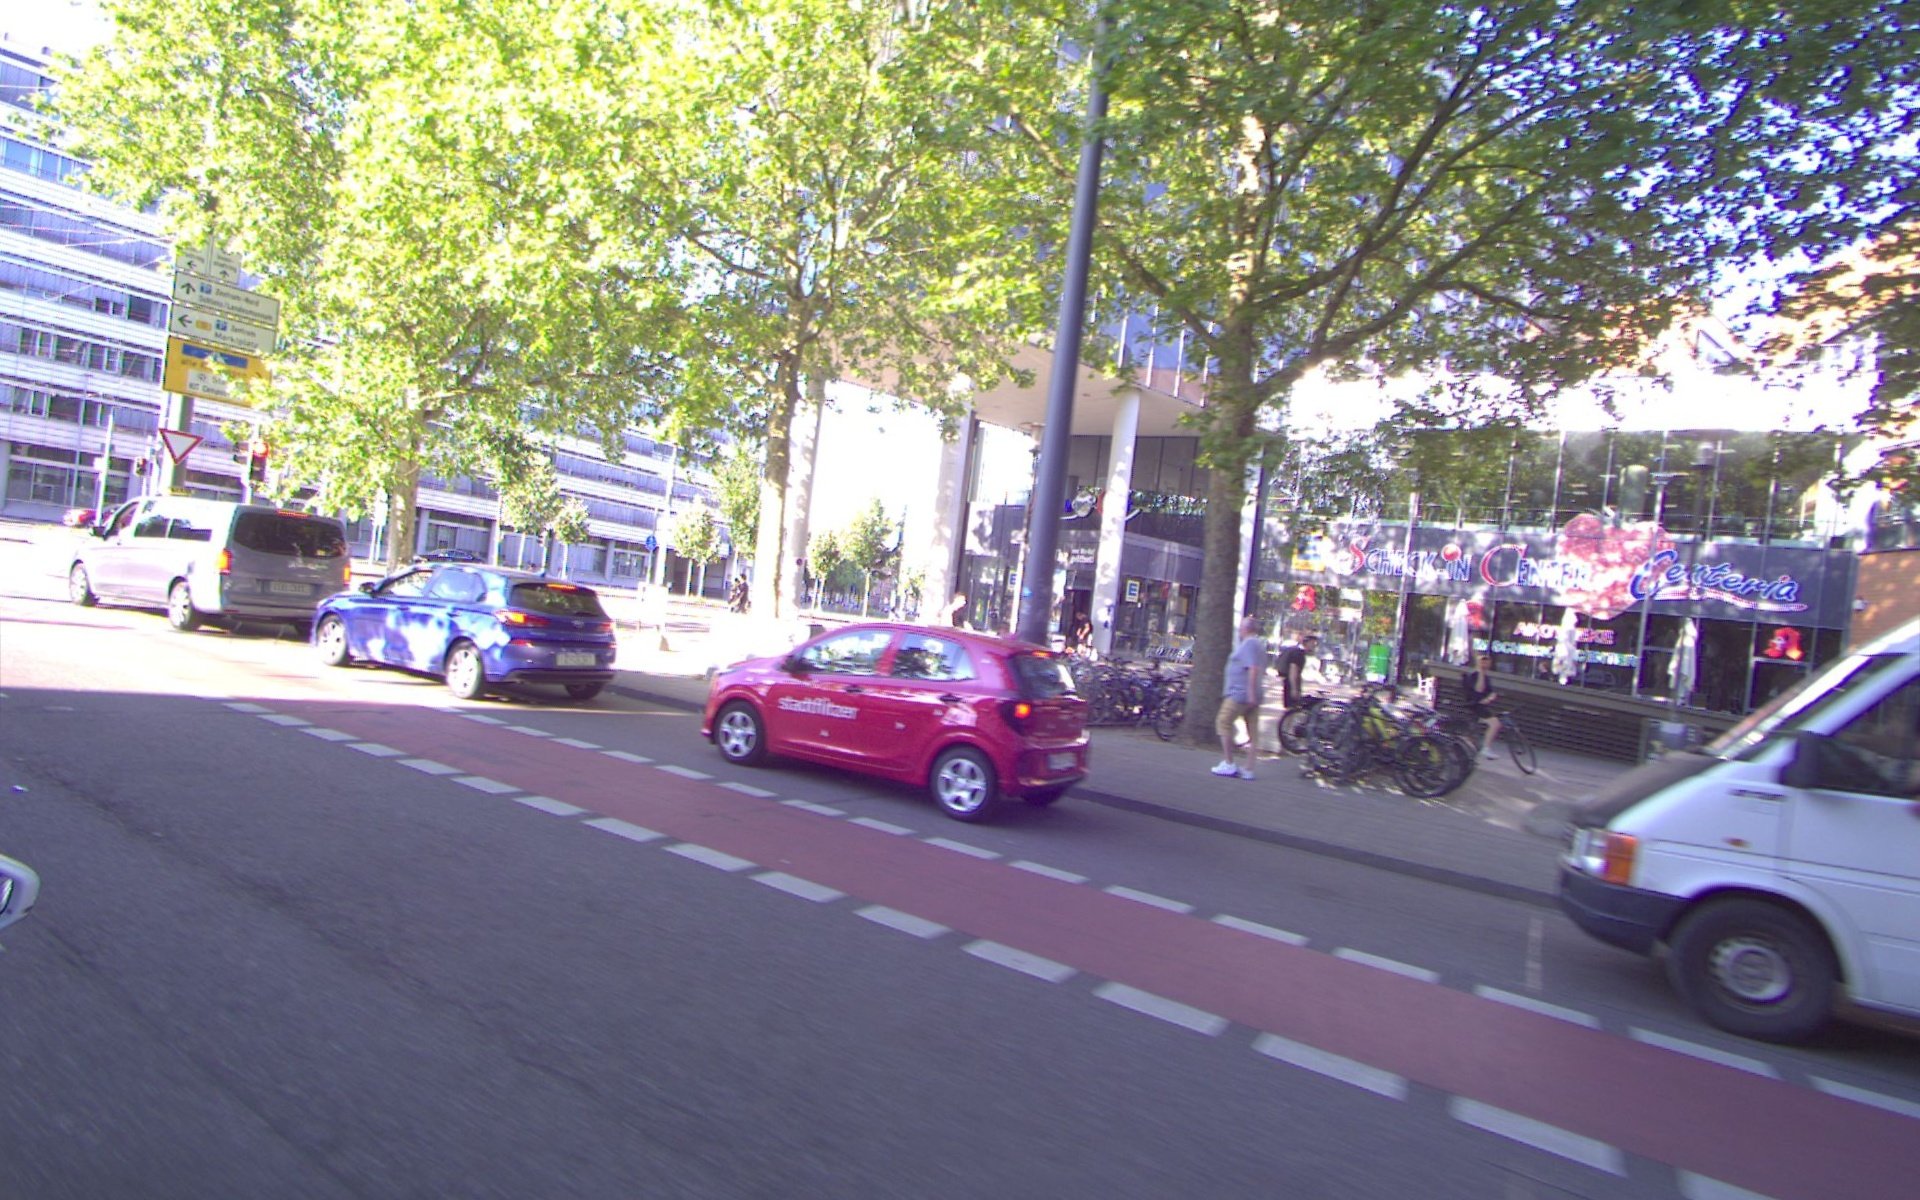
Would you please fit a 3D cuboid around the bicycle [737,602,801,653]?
[{"bbox_3d":[-5.123,0.729,26.935,1.751,1.140,0.566,7,0,37],"label":"bicycle"}]

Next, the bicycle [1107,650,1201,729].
[{"bbox_3d":[3.419,1.569,17.770,1.449,1.174,0.422,7,1,22],"label":"bicycle"}]

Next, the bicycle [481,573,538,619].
[{"bbox_3d":[-11.406,-0.114,25.451,1.451,0.995,0.451,7,1,29],"label":"bicycle"}]

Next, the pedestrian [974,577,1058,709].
[{"bbox_3d":[0.816,0.623,14.669,0.801,1.808,0.652,6,1,-34],"label":"pedestrian"}]

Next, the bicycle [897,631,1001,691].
[{"bbox_3d":[-0.246,1.231,20.600,2.153,0.945,0.665,6,0,41],"label":"bicycle"}]

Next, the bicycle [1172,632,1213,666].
[{"bbox_3d":[8.921,1.897,38.514,0.708,1.142,1.913,7,0,37],"label":"bicycle"}]

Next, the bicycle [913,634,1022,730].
[{"bbox_3d":[0.071,1.160,14.554,0.591,1.130,1.810,6,0,-32],"label":"bicycle"}]

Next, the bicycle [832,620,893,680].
[{"bbox_3d":[-1.957,0.995,20.155,0.394,1.038,1.304,6,0,-44],"label":"bicycle"}]

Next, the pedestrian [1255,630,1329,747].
[{"bbox_3d":[5.407,1.435,16.382,0.759,1.779,0.817,7,1,35],"label":"pedestrian"}]

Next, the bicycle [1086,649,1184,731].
[{"bbox_3d":[2.938,1.499,16.937,1.449,1.174,0.422,7,1,22],"label":"bicycle"}]

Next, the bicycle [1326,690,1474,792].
[{"bbox_3d":[5.758,1.818,13.199,1.627,1.044,0.596,7,0,30],"label":"bicycle"}]

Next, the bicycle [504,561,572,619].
[{"bbox_3d":[-10.968,-0.277,26.136,1.855,1.302,0.451,7,1,29],"label":"bicycle"}]

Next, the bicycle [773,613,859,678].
[{"bbox_3d":[-2.755,0.858,19.176,1.544,1.038,0.461,7,1,27],"label":"bicycle"}]

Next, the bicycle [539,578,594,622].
[{"bbox_3d":[-10.501,-0.001,26.824,1.451,0.995,0.451,7,1,29],"label":"bicycle"}]

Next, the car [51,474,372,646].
[{"bbox_3d":[-11.617,-0.651,15.529,5.051,1.988,1.998,7,-2,30],"label":"car"}]

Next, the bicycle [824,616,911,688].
[{"bbox_3d":[-1.652,0.917,17.926,1.451,1.095,0.421,7,1,29],"label":"bicycle"}]

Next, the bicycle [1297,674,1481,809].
[{"bbox_3d":[5.112,1.646,12.021,1.844,1.280,0.596,7,1,30],"label":"bicycle"}]

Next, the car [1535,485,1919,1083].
[{"bbox_3d":[6.552,1.148,4.651,6.454,2.755,1.997,7,-2,33],"label":"car"}]

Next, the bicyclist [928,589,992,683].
[{"bbox_3d":[-0.004,0.739,20.442,0.840,1.789,0.749,7,1,41],"label":"bicyclist"}]

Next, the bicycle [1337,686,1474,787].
[{"bbox_3d":[6.307,1.904,14.274,1.627,1.151,0.502,7,1,30],"label":"bicycle"}]

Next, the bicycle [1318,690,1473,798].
[{"bbox_3d":[5.441,1.766,12.603,1.627,1.044,0.596,7,0,30],"label":"bicycle"}]

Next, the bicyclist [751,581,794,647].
[{"bbox_3d":[-5.009,0.372,26.875,0.809,1.636,0.562,7,1,37],"label":"bicyclist"}]

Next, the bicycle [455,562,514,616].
[{"bbox_3d":[-11.727,-0.272,24.801,1.451,1.159,0.451,7,1,29],"label":"bicycle"}]

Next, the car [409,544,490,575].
[{"bbox_3d":[-32.778,-2.592,64.711,1.768,1.409,4.239,7,-1,38],"label":"car"}]

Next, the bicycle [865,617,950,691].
[{"bbox_3d":[-0.976,0.994,18.531,1.451,1.174,0.421,7,1,29],"label":"bicycle"}]

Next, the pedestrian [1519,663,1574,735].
[{"bbox_3d":[16.652,2.808,28.566,0.990,1.866,0.844,6,1,-35],"label":"pedestrian"}]

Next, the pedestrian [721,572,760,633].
[{"bbox_3d":[-7.190,0.092,32.987,0.851,1.841,0.849,7,-1,2],"label":"pedestrian"}]

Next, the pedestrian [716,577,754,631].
[{"bbox_3d":[-7.680,0.158,34.323,0.851,1.701,0.849,7,-1,4],"label":"pedestrian"}]

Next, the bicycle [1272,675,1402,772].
[{"bbox_3d":[5.696,1.843,15.239,1.667,1.174,0.478,7,1,34],"label":"bicycle"}]

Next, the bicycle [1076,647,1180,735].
[{"bbox_3d":[2.674,1.433,16.021,1.449,1.174,0.479,7,1,22],"label":"bicycle"}]

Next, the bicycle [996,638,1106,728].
[{"bbox_3d":[1.359,1.242,15.385,0.591,1.130,1.810,6,0,-32],"label":"bicycle"}]

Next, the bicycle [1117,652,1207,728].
[{"bbox_3d":[3.706,1.640,18.494,1.449,1.174,0.422,7,1,22],"label":"bicycle"}]

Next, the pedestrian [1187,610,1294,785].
[{"bbox_3d":[3.185,1.081,11.392,0.795,1.808,0.873,7,1,29],"label":"pedestrian"}]

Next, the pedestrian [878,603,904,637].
[{"bbox_3d":[-3.161,0.915,45.896,0.763,1.460,0.705,7,1,33],"label":"pedestrian"}]

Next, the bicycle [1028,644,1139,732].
[{"bbox_3d":[1.901,1.352,15.764,0.602,1.130,1.810,6,0,-32],"label":"bicycle"}]

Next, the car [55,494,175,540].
[{"bbox_3d":[-42.701,-4.177,50.932,1.767,1.621,4.243,7,0,35],"label":"car"}]

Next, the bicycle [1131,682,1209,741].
[{"bbox_3d":[3.106,1.654,14.870,1.101,0.770,0.396,7,0,-33],"label":"bicycle"}]

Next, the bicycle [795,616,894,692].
[{"bbox_3d":[-1.947,0.896,16.856,1.548,1.070,0.627,7,0,36],"label":"bicycle"}]

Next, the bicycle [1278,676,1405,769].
[{"bbox_3d":[5.932,1.882,15.688,1.667,1.174,0.478,7,1,34],"label":"bicycle"}]

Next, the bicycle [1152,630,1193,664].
[{"bbox_3d":[8.247,1.827,39.052,0.708,1.142,1.913,7,0,37],"label":"bicycle"}]

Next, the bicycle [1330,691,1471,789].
[{"bbox_3d":[6.014,1.890,13.767,1.627,1.044,0.502,7,0,30],"label":"bicycle"}]

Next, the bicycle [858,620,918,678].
[{"bbox_3d":[-1.484,0.995,20.631,0.394,1.038,1.304,6,0,-44],"label":"bicycle"}]

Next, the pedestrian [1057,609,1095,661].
[{"bbox_3d":[4.020,1.213,34.724,0.850,1.661,0.967,7,0,27],"label":"pedestrian"}]

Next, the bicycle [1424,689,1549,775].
[{"bbox_3d":[9.081,2.250,17.386,1.743,1.174,0.576,7,0,37],"label":"bicycle"}]

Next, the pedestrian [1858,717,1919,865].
[{"bbox_3d":[11.289,2.265,11.996,0.626,1.652,0.717,7,1,36],"label":"pedestrian"}]

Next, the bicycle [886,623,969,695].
[{"bbox_3d":[-0.628,1.109,19.038,1.452,1.174,0.421,7,1,31],"label":"bicycle"}]

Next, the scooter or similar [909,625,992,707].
[{"bbox_3d":[-0.133,1.078,16.155,0.899,1.154,1.260,5,-4,17],"label":"scooter or similar"}]

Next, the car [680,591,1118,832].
[{"bbox_3d":[-0.600,0.899,9.125,3.560,1.481,1.562,7,-1,30],"label":"car"}]

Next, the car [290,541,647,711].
[{"bbox_3d":[-6.048,0.276,12.296,4.145,1.482,1.768,7,0,29],"label":"car"}]

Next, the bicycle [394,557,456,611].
[{"bbox_3d":[-12.549,-0.385,23.586,1.451,1.107,0.489,7,1,29],"label":"bicycle"}]

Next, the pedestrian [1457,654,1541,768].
[{"bbox_3d":[9.247,1.880,17.253,1.003,1.779,0.786,7,1,36],"label":"pedestrian"}]

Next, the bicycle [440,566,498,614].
[{"bbox_3d":[-11.851,-0.249,24.264,1.451,0.991,0.421,7,1,29],"label":"bicycle"}]

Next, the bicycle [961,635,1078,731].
[{"bbox_3d":[0.831,1.177,14.661,0.591,1.130,1.933,6,0,-32],"label":"bicycle"}]

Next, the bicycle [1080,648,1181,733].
[{"bbox_3d":[2.789,1.471,16.493,1.449,1.174,0.422,7,1,22],"label":"bicycle"}]
